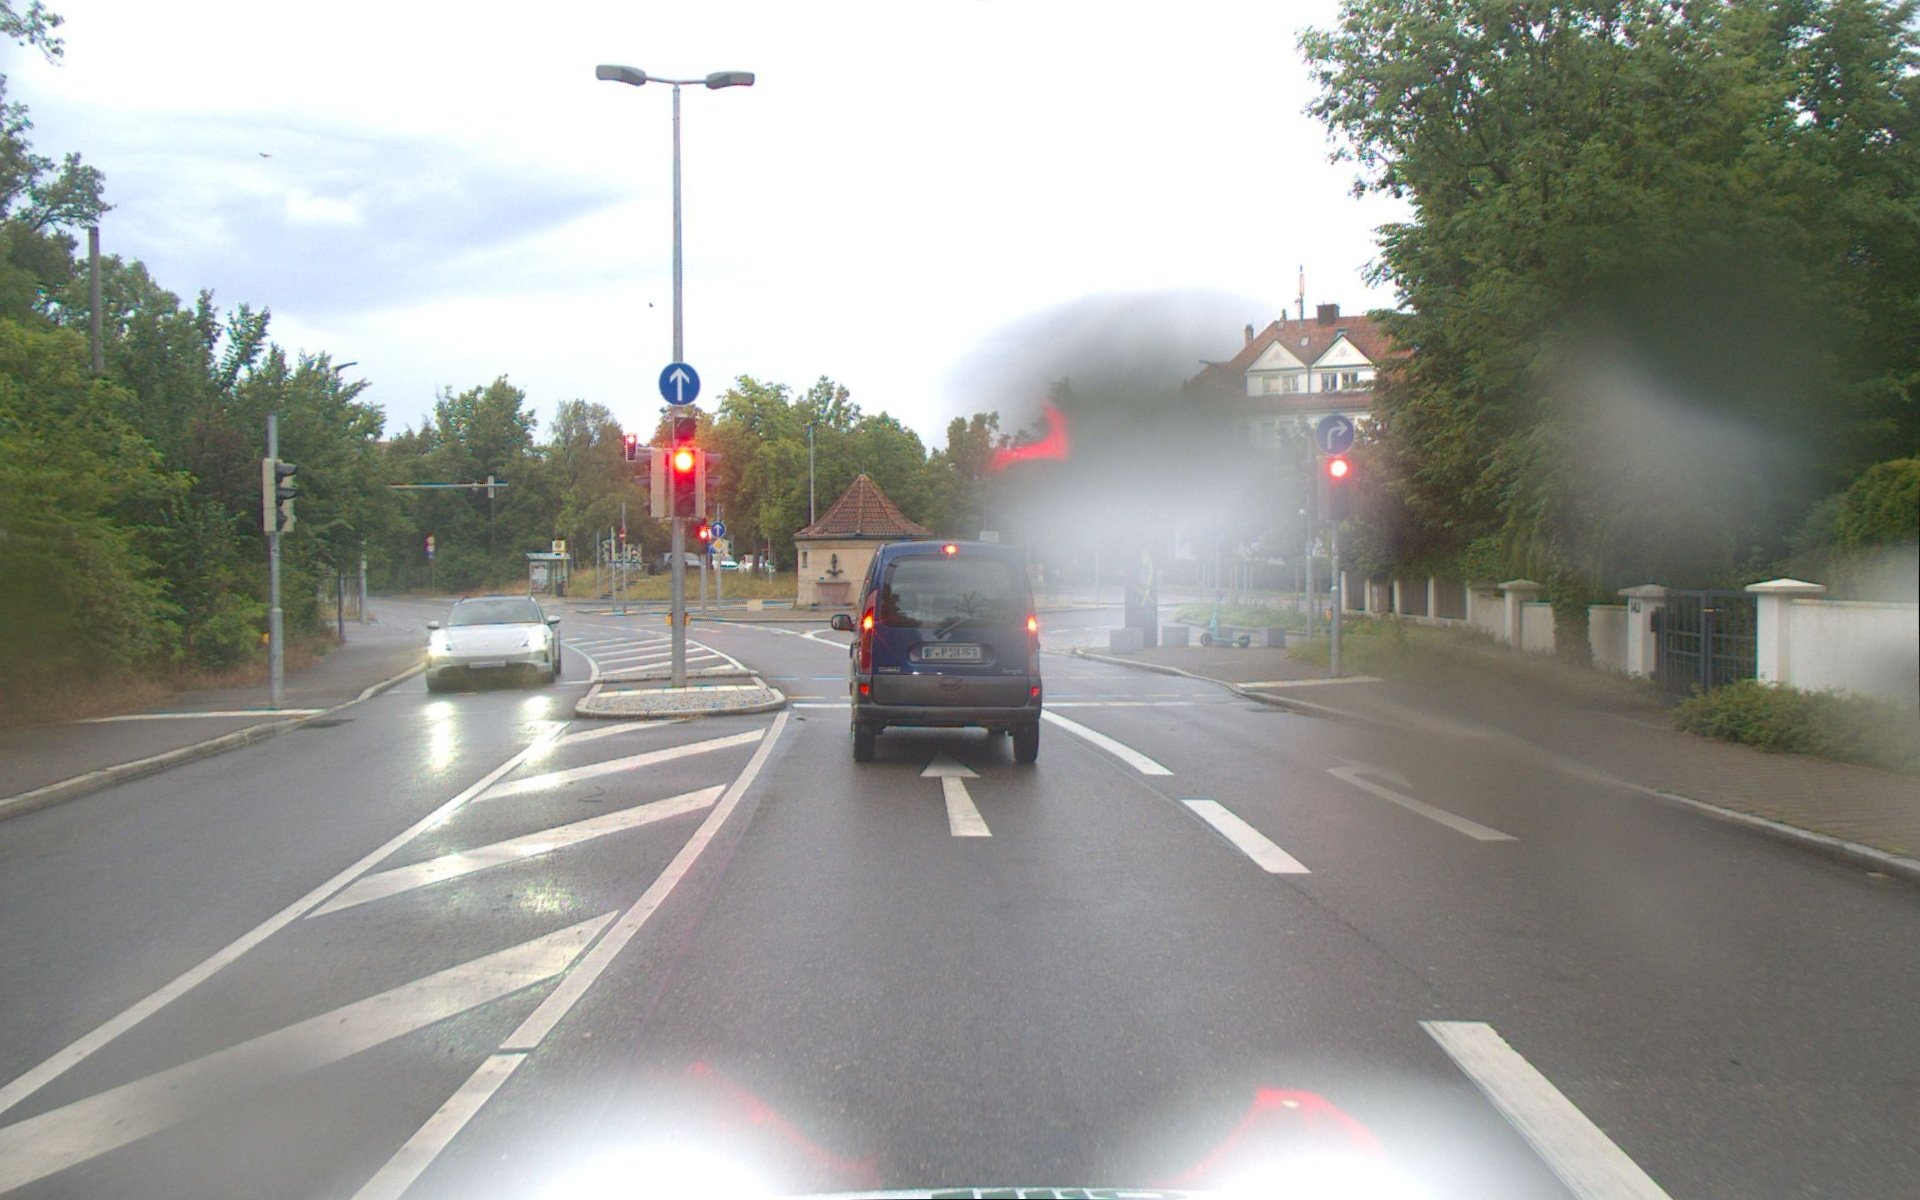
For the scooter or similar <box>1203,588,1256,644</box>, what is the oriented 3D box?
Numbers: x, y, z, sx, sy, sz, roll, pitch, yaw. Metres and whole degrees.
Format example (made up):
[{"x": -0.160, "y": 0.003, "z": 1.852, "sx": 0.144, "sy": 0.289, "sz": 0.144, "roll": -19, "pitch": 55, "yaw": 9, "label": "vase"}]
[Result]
[{"x": 6.043, "y": 0.359, "z": 37.100, "sx": 1.126, "sy": 1.240, "sz": 0.405, "roll": 0, "pitch": -1, "yaw": -3, "label": "scooter or similar"}]

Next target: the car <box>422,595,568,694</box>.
[{"x": -7.521, "y": 0.655, "z": 27.131, "sx": 1.959, "sy": 1.334, "sz": 4.346, "roll": -3, "pitch": 1, "yaw": -12, "label": "car"}]

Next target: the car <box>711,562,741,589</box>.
[{"x": -16.709, "y": -1.723, "z": 118.310, "sx": 1.955, "sy": 1.844, "sz": 3.995, "roll": 0, "pitch": 0, "yaw": -6, "label": "car"}]

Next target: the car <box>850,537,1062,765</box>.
[{"x": -0.161, "y": 0.385, "z": 15.264, "sx": 1.697, "sy": 1.817, "sz": 3.997, "roll": 0, "pitch": 1, "yaw": -4, "label": "car"}]
